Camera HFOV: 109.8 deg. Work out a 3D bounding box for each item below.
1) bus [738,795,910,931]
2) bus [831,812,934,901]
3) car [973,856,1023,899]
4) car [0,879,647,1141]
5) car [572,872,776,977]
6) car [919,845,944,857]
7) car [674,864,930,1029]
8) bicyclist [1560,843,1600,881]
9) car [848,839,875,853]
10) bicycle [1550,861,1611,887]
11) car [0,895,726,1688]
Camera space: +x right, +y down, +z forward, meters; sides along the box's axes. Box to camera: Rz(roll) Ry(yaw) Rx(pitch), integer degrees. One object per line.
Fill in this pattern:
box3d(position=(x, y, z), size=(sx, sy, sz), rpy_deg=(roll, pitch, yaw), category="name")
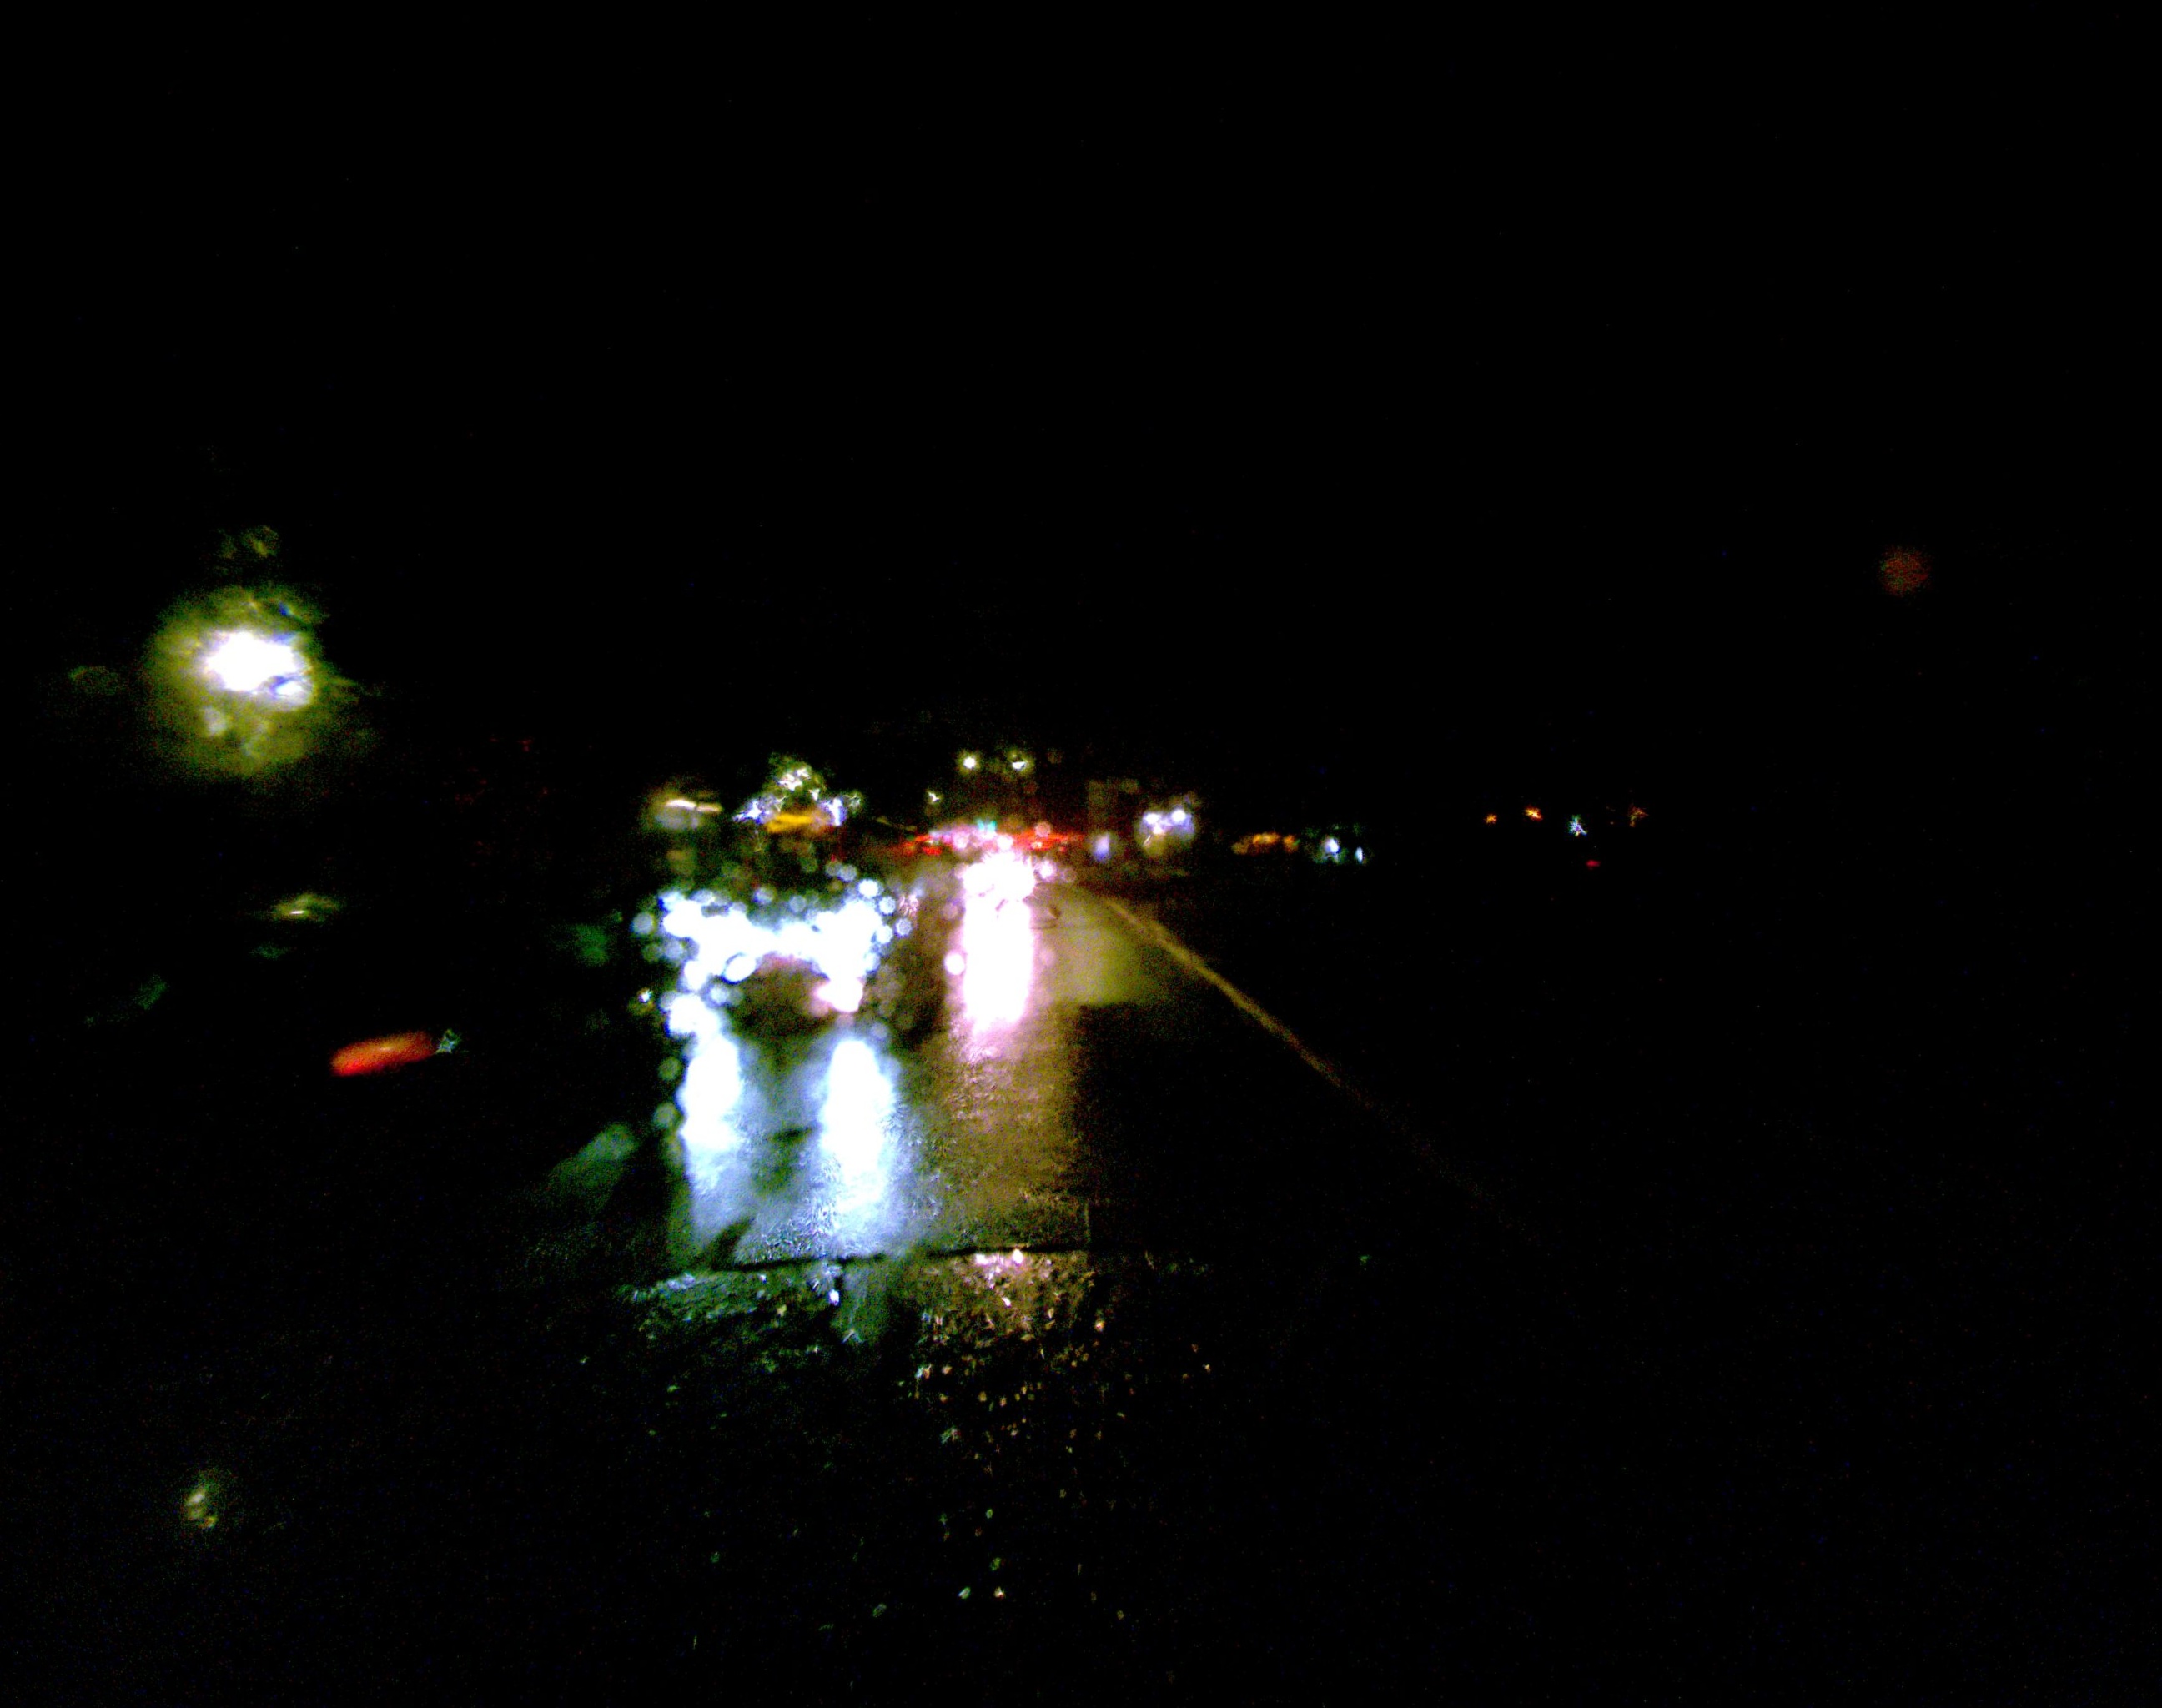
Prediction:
box3d(position=(-7.352, 0.156, 23.389), size=(2.742, 3.258, 9.693), rpy_deg=(-2, 1, -6), category="bus")
box3d(position=(-8.281, 0.041, 33.022), size=(2.742, 3.219, 9.693), rpy_deg=(-2, 1, -6), category="bus")
box3d(position=(-3.187, 0.833, 28.619), size=(1.756, 1.438, 3.970), rpy_deg=(0, 1, -8), category="car")
box3d(position=(-6.419, 1.095, 7.329), size=(1.724, 1.478, 4.786), rpy_deg=(-1, 1, 0), category="car")
box3d(position=(-7.122, 1.141, 13.842), size=(1.725, 1.478, 4.160), rpy_deg=(0, 1, -4), category="car")
box3d(position=(-20.934, -0.387, 106.491), size=(1.605, 1.528, 4.300), rpy_deg=(-3, 1, -39), category="car")
box3d(position=(-3.301, 0.992, 9.953), size=(1.724, 1.478, 4.161), rpy_deg=(-5, 1, 0), category="car")
box3d(position=(19.134, 0.286, 29.154), size=(0.629, 1.427, 1.187), rpy_deg=(-1, 1, -8), category="bicyclist")
box3d(position=(-23.723, -0.887, 81.946), size=(1.712, 1.382, 3.990), rpy_deg=(-2, 1, -32), category="car")
box3d(position=(19.141, 0.761, 29.176), size=(0.628, 0.899, 2.211), rpy_deg=(-1, 1, -9), category="bicycle")
box3d(position=(-3.139, 1.025, 2.768), size=(1.724, 1.438, 4.161), rpy_deg=(-1, 1, 0), category="car")
